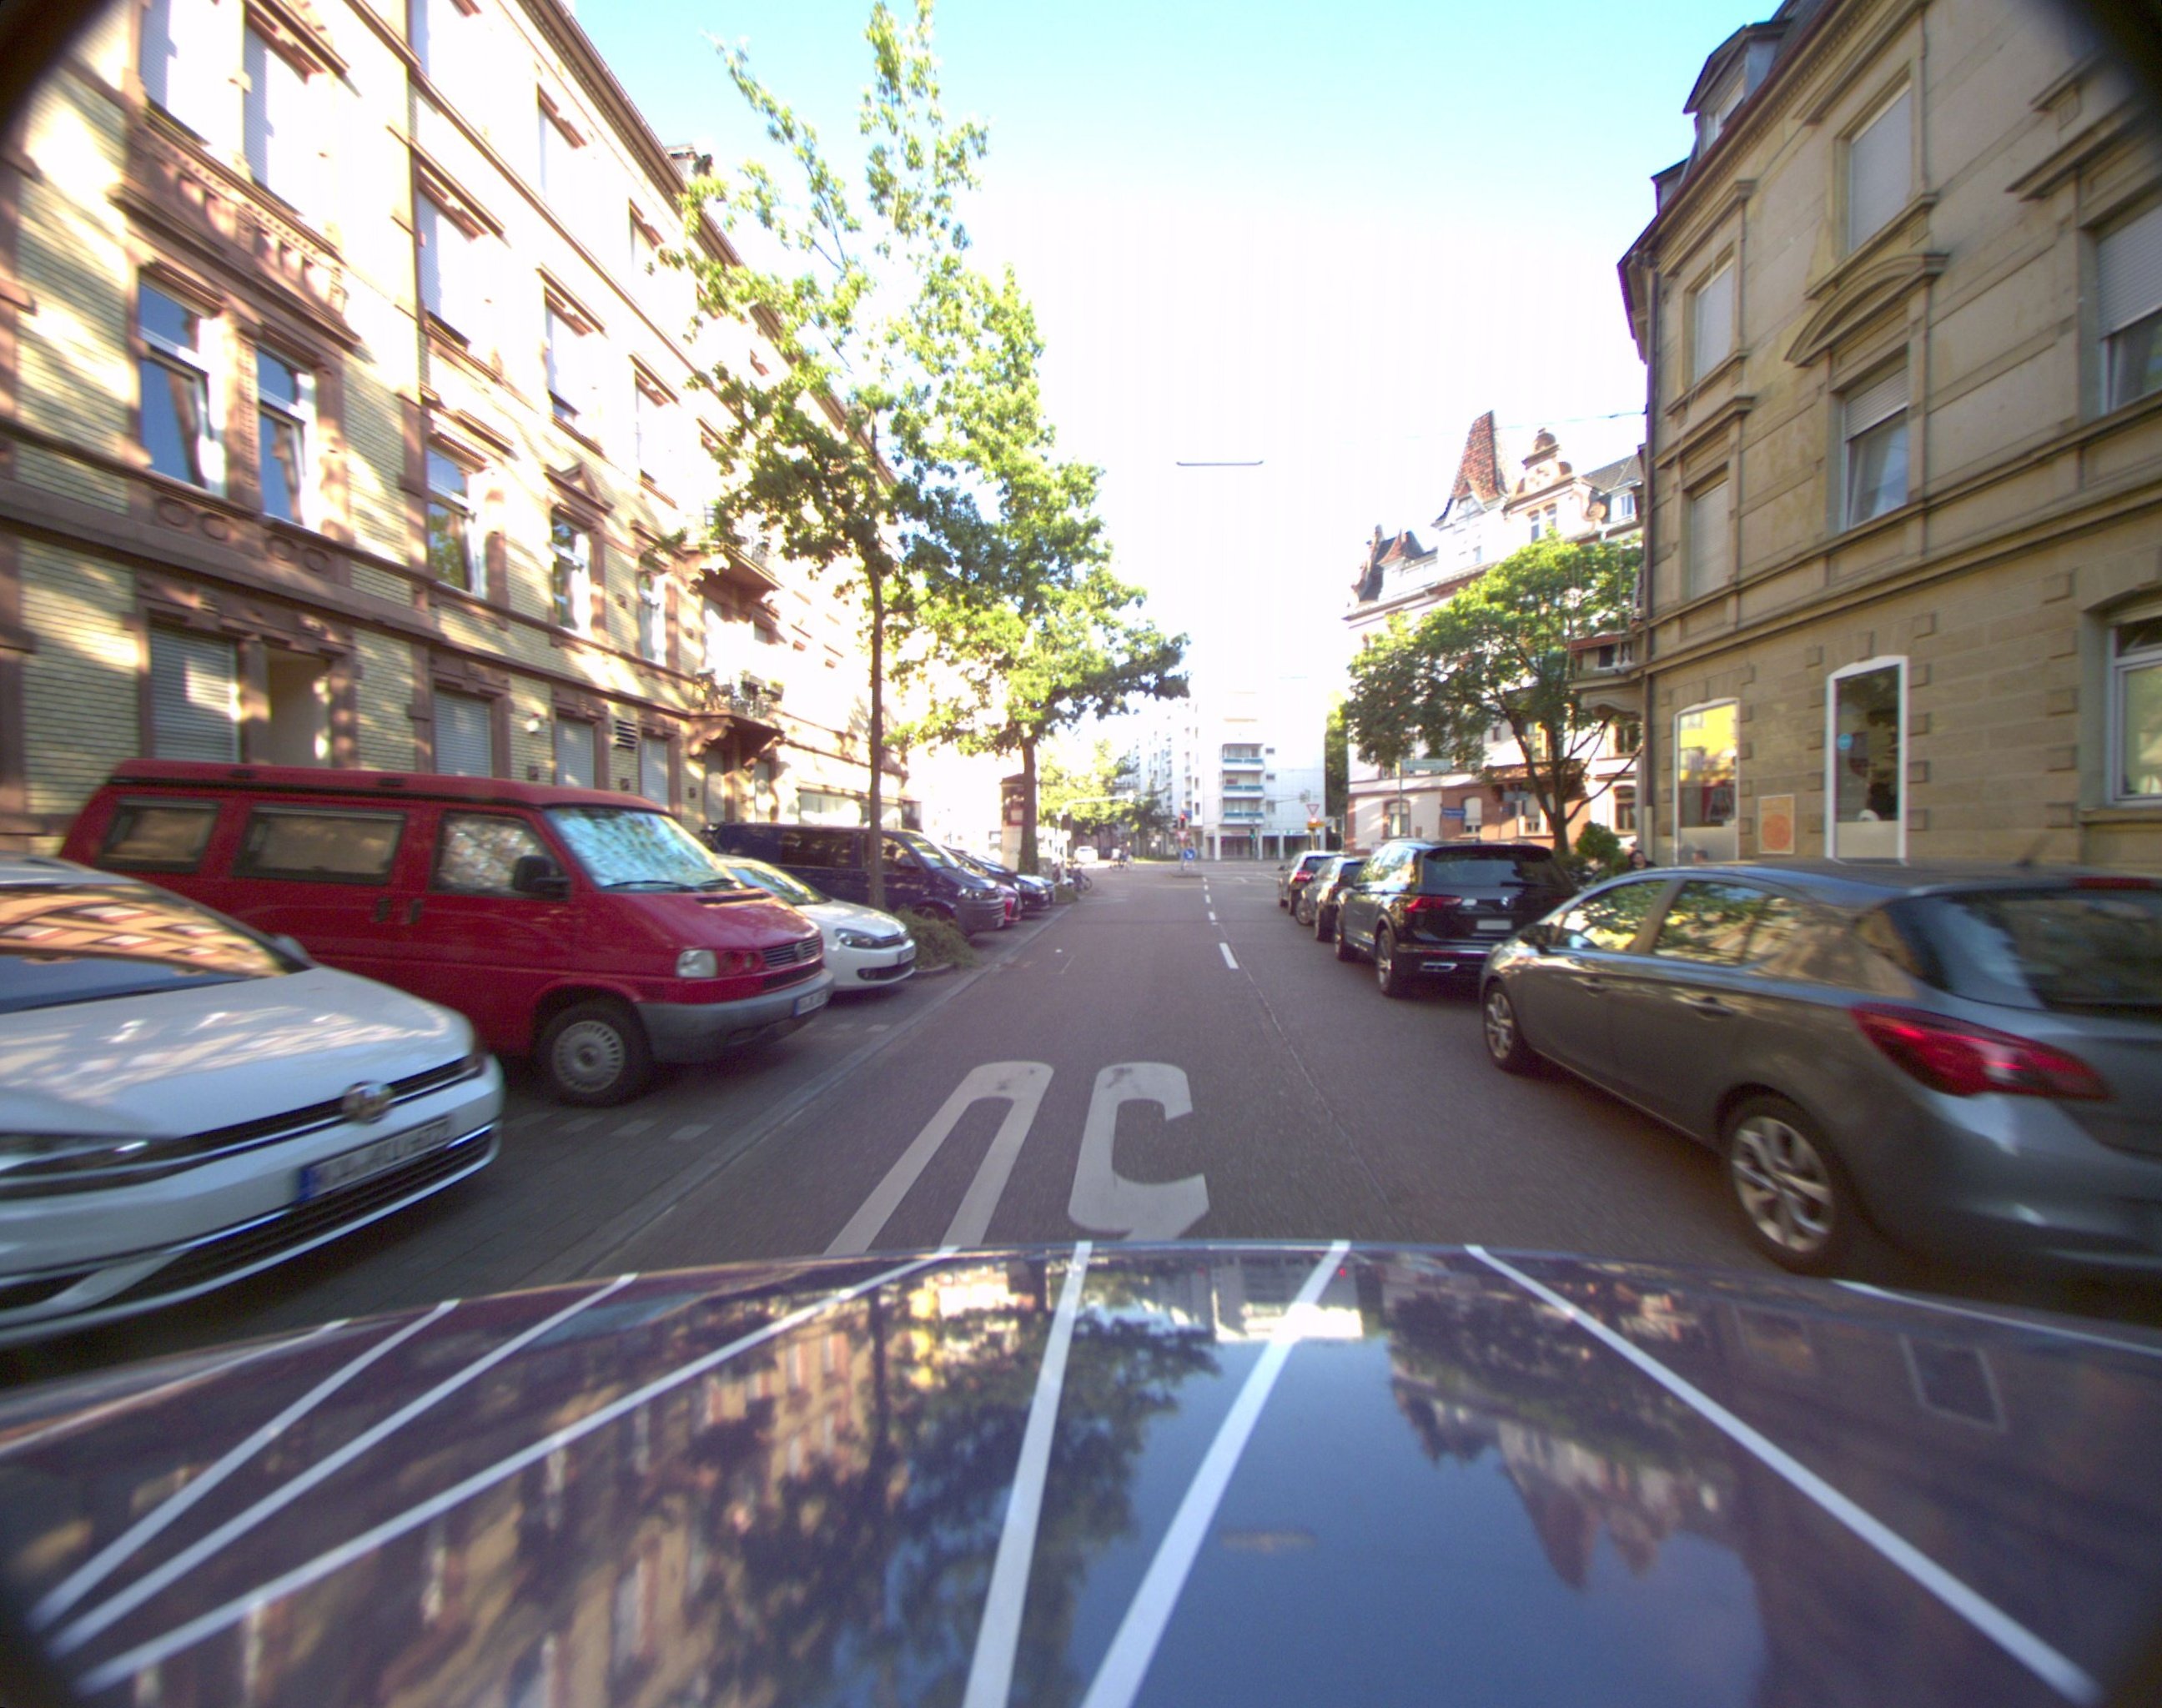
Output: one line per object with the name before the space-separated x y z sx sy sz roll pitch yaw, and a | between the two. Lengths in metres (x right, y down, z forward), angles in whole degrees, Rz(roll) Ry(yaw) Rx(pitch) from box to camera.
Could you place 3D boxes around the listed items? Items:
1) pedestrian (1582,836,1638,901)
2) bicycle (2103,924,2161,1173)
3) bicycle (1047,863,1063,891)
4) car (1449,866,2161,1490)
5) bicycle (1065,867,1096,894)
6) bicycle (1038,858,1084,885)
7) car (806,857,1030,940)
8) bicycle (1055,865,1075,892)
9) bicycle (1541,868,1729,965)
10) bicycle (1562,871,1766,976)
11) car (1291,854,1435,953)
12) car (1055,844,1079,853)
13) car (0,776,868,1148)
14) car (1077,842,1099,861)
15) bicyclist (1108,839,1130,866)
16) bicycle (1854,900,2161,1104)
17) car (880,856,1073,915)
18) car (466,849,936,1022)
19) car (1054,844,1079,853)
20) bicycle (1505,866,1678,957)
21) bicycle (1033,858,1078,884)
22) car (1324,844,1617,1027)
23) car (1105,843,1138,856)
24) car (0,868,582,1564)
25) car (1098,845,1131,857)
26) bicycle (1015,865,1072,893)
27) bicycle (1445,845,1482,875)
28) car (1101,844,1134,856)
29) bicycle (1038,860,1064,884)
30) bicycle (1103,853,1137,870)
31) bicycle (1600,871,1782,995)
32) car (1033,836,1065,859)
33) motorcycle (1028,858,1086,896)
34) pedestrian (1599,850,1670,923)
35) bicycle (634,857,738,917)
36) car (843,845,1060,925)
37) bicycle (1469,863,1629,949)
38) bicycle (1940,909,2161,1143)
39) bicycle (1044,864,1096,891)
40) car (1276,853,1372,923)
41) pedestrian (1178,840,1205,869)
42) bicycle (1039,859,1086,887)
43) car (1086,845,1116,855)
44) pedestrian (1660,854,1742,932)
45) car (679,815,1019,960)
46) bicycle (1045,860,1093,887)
pedestrian | 15.896 0.415 22.849 1.117 1.888 0.842 -1 1 -5
bicycle | 5.897 0.877 3.358 1.871 1.122 0.528 -2 1 5
bicycle | -0.968 0.847 28.346 0.354 0.922 1.525 2 2 7
car | 3.509 0.852 3.861 1.762 1.492 4.062 0 0 7
bicycle | -0.024 0.967 27.779 0.353 0.922 1.416 3 2 35
bicycle | -0.830 0.733 31.794 1.940 1.087 0.424 1 2 -34
car | -3.252 0.882 15.610 4.114 1.526 1.725 -1 1 6
bicycle | -0.587 0.894 28.185 0.354 0.922 1.526 2 2 13
bicycle | 6.917 0.782 9.553 1.871 1.122 0.528 -2 1 8
bicycle | 6.770 0.808 8.888 1.871 1.122 0.528 -2 1 8
car | 5.009 0.765 14.107 1.761 1.443 4.553 0 1 11
car | -2.827 -1.079 150.106 4.306 1.576 1.997 -1 1 -13
car | -4.127 0.564 5.332 4.684 2.022 1.879 1 1 5
car | 0.711 -0.239 73.596 1.998 1.740 4.000 -1 1 1
bicyclist | 2.277 -0.069 45.338 1.082 1.544 0.633 -3 1 -24
bicycle | 6.074 0.898 4.723 1.871 1.122 0.528 -2 1 5
car | -2.725 0.793 20.368 4.794 1.405 1.852 1 1 8
car | -3.797 0.746 8.068 4.062 1.502 1.879 1 1 5
car | -2.787 -1.045 145.035 4.306 1.576 1.997 -1 1 -13
bicycle | 6.805 0.759 10.196 1.871 1.122 0.528 -2 1 8
bicycle | -1.076 0.721 32.183 1.940 1.087 0.424 1 2 -34
car | 4.131 0.689 8.957 1.761 1.590 4.553 0 0 9
car | 5.564 -0.621 104.328 4.002 1.576 1.997 -1 1 -15
car | -4.742 0.853 2.844 4.684 1.506 1.879 1 1 7
car | 4.839 -0.472 109.312 4.307 1.576 1.997 -1 1 -15
bicycle | -1.328 0.875 26.981 1.934 0.922 0.354 2 2 4
bicycle | 16.545 0.235 32.923 0.547 1.189 2.960 -1 1 9
car | 5.129 -0.551 106.736 4.307 1.576 1.997 -1 1 -15
bicycle | -1.331 0.778 33.763 1.000 1.021 0.737 -1 1 -16
bicycle | 2.335 0.458 45.358 1.881 0.907 0.633 -3 1 -24
bicycle | 6.434 0.794 8.010 1.874 1.122 0.527 -3 1 -17
car | -4.707 -1.011 110.226 3.327 3.161 8.073 -1 1 -12
motorcycle | -0.814 0.790 26.313 1.901 1.227 0.686 1 1 6
pedestrian | 9.870 0.558 13.576 0.727 1.252 0.757 -1 1 3
bicycle | -8.687 0.689 16.862 0.672 1.165 2.594 1 1 8
car | -3.013 0.659 17.969 4.693 1.669 1.853 1 1 14
bicycle | 6.669 0.737 10.886 1.871 1.122 0.528 -2 1 8
bicycle | 5.900 0.882 4.062 1.871 1.122 0.528 -2 1 5
bicycle | -0.435 0.918 29.581 1.938 0.982 0.496 1 2 -17
car | 5.942 0.746 19.001 1.761 1.479 4.141 0 1 10
pedestrian | 6.575 0.037 45.293 1.175 1.670 1.005 -2 1 -24
bicycle | -0.732 0.757 30.922 1.940 1.087 0.424 1 2 -32
car | 3.194 -0.654 120.981 4.306 1.576 1.997 -1 1 -13
pedestrian | 9.948 0.611 12.219 0.727 1.207 0.757 -1 1 3
car | -3.743 0.531 12.810 5.031 2.202 1.993 -1 1 6
bicycle | -0.465 0.793 30.516 1.940 1.046 0.501 1 2 -32
